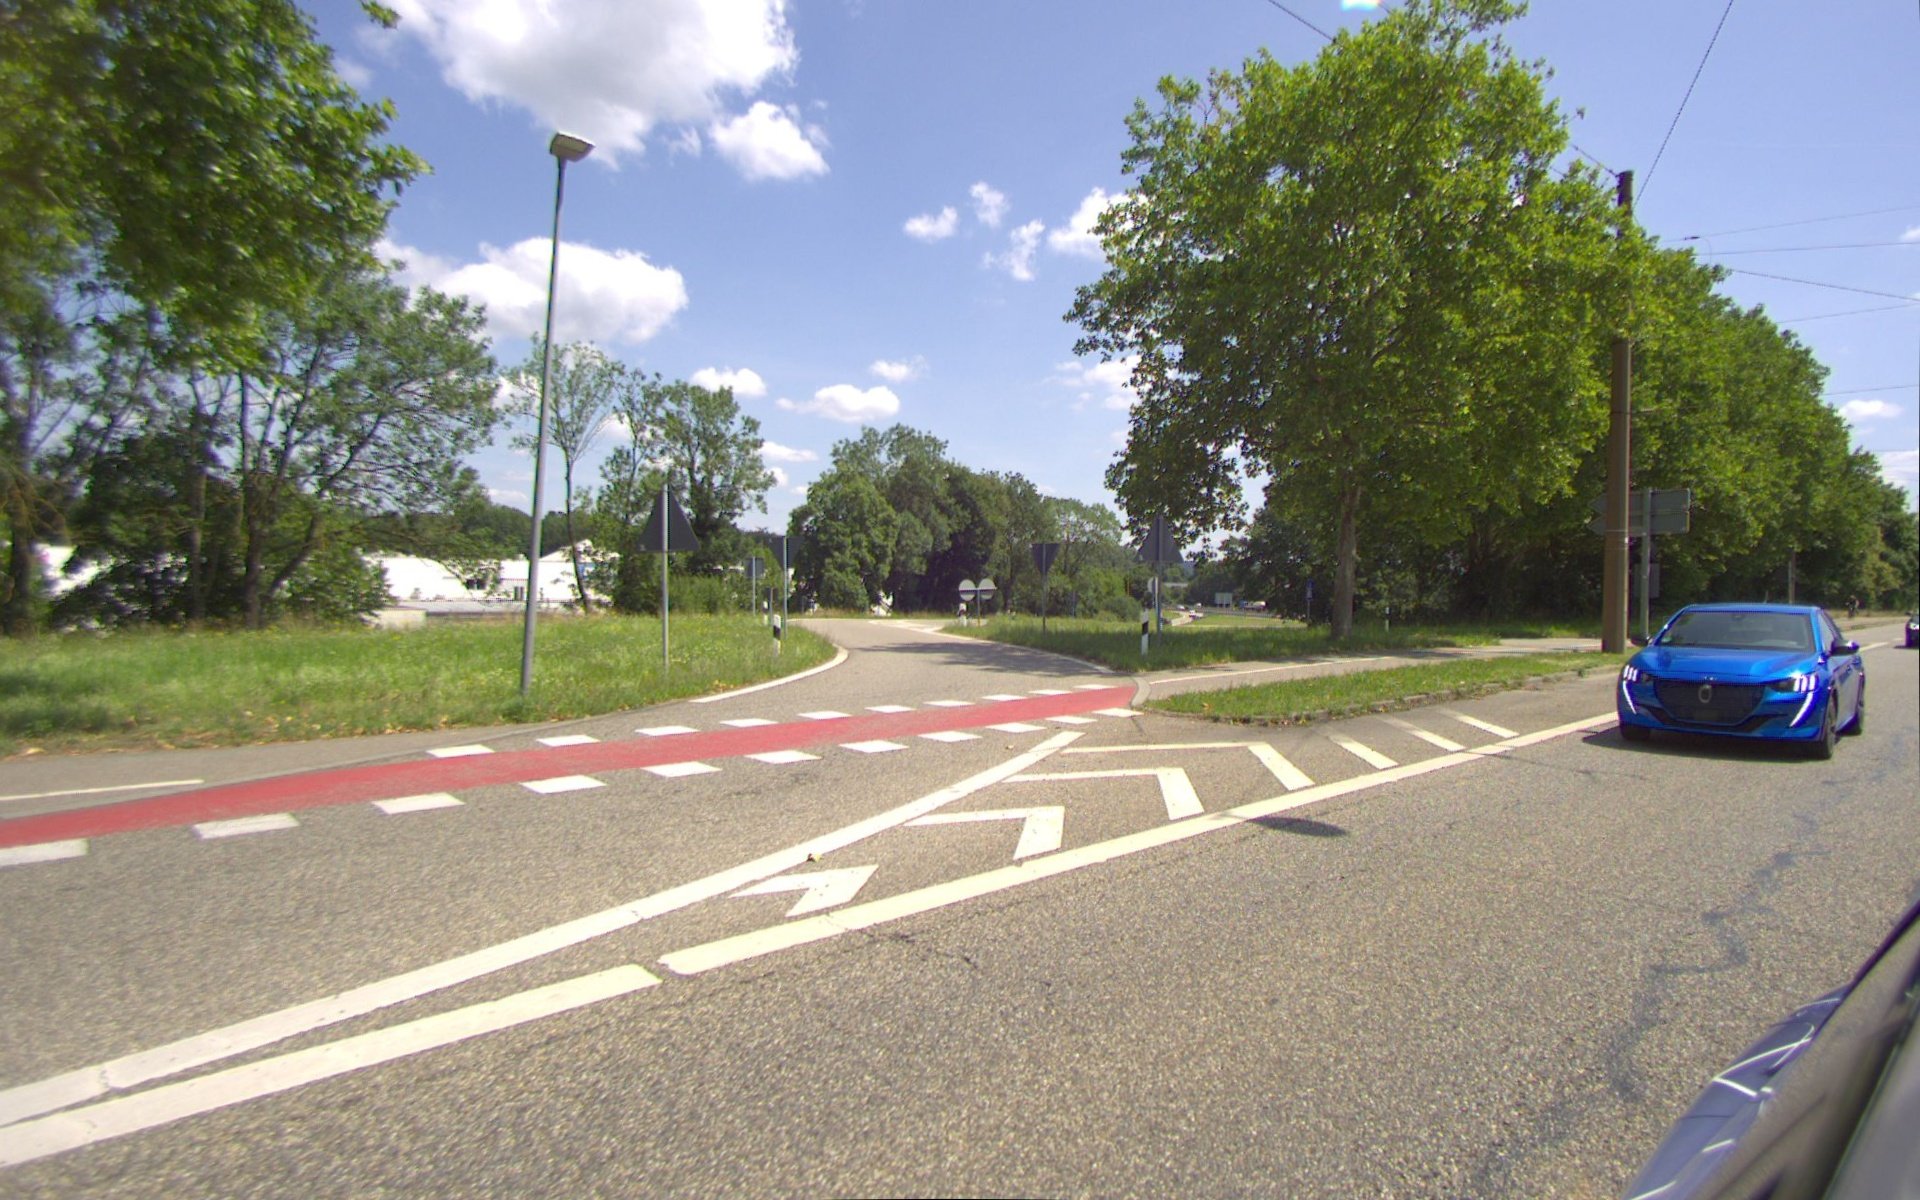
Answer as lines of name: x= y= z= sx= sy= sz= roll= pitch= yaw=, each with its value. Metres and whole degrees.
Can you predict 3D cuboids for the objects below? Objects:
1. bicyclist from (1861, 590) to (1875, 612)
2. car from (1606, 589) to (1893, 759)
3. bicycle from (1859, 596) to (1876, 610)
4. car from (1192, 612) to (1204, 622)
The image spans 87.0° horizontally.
bicyclist: x=62.282 y=0.045 z=69.433 sx=0.930 sy=1.492 sz=0.607 roll=0 pitch=1 yaw=-42
car: x=8.705 y=0.643 z=11.005 sx=4.391 sy=1.490 sz=1.769 roll=0 pitch=0 yaw=-43
bicycle: x=62.218 y=0.223 z=69.381 sx=1.860 sy=0.921 sz=0.607 roll=0 pitch=1 yaw=-42
car: x=51.565 y=3.603 z=219.324 sx=1.975 sy=2.039 sz=4.535 roll=1 pitch=1 yaw=19
